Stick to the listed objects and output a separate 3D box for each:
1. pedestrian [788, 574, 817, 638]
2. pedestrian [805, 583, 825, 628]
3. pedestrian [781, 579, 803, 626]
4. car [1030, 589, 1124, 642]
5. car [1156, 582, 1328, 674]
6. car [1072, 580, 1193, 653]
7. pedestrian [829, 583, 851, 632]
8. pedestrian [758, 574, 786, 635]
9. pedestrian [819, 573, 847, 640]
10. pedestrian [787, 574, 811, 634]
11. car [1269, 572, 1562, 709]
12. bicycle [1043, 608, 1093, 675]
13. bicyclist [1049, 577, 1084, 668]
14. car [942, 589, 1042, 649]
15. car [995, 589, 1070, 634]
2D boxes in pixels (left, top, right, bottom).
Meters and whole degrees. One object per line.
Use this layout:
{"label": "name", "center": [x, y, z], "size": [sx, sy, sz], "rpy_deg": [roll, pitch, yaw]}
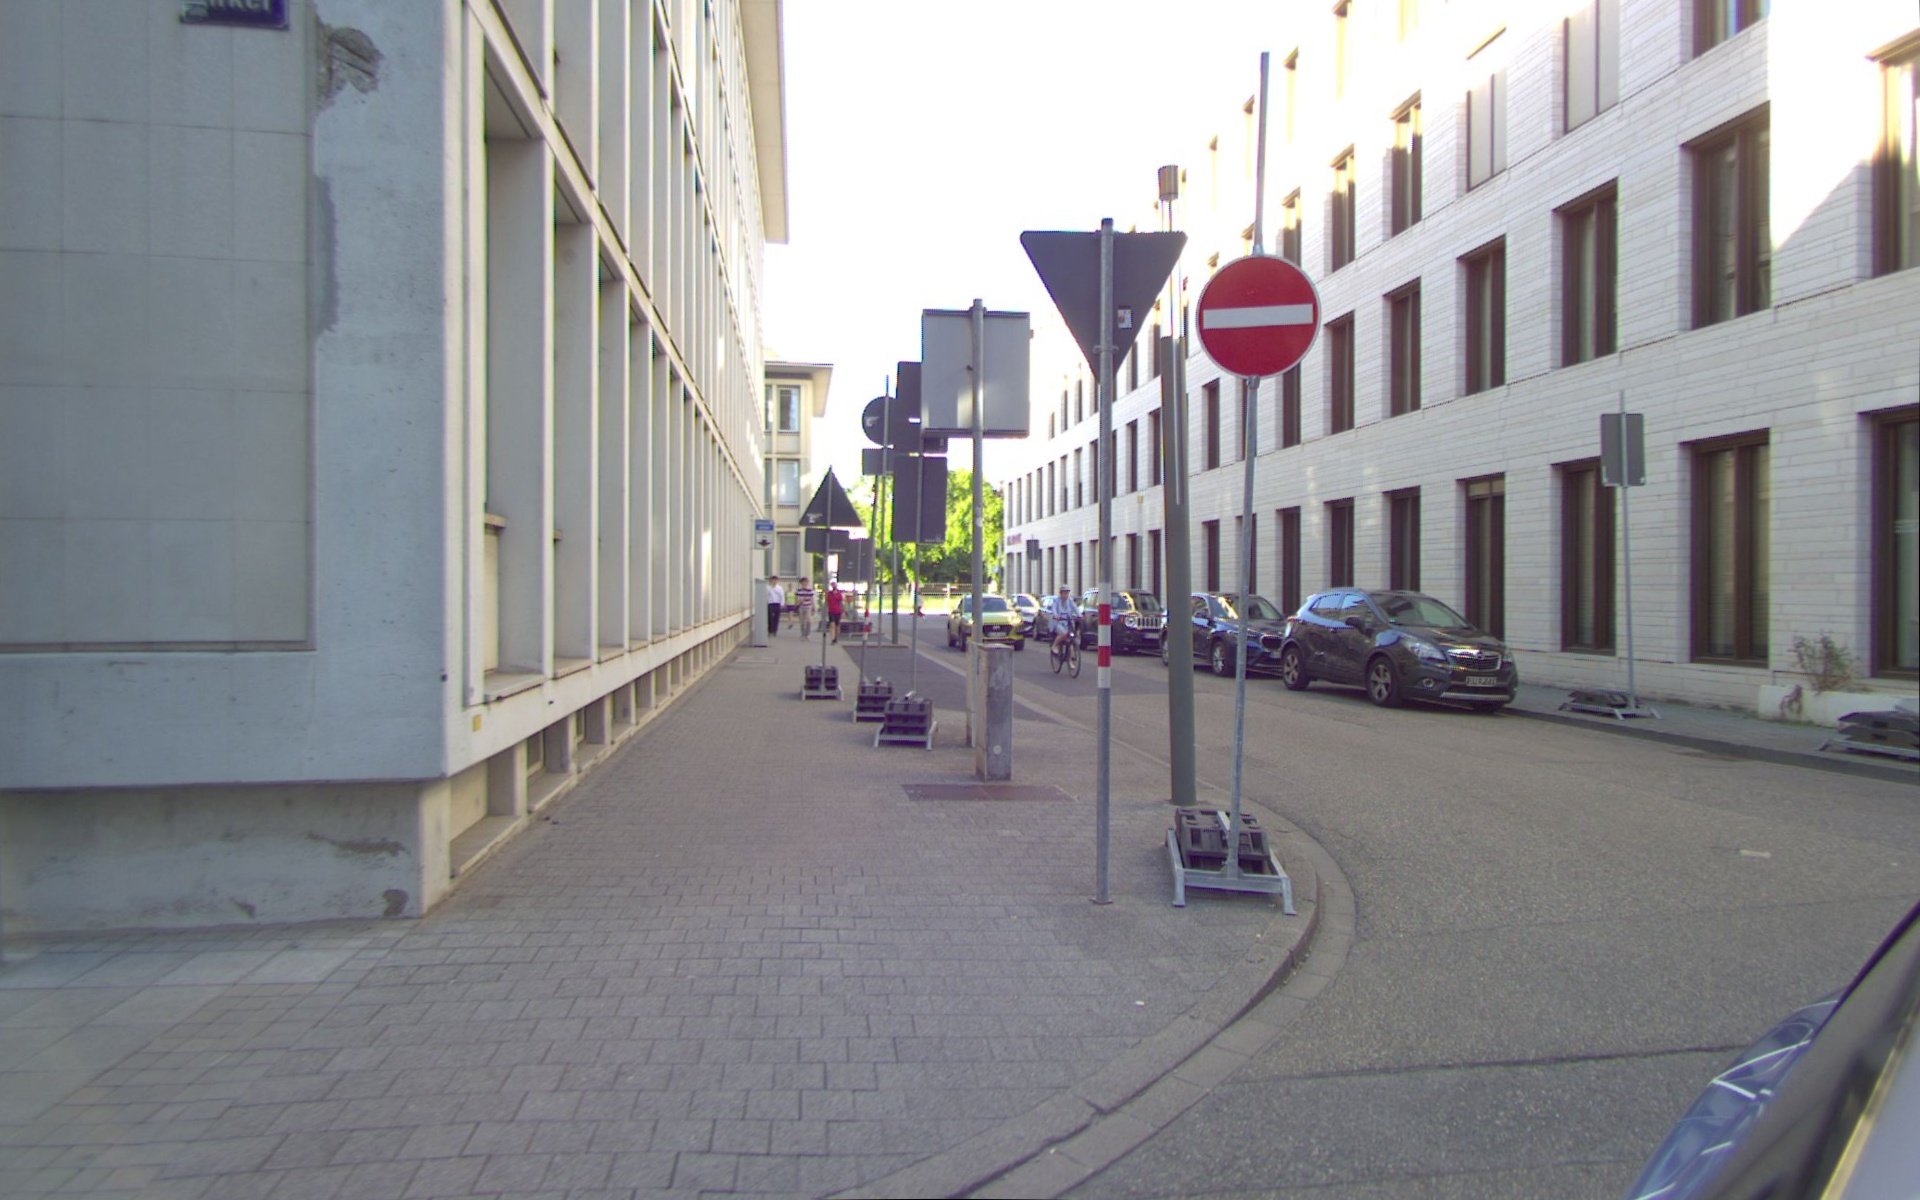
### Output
{"label": "pedestrian", "center": [-4.626, 0.156, 29.713], "size": [0.671, 1.800, 0.694], "rpy_deg": [5, 0, -7]}
{"label": "pedestrian", "center": [-5.514, 0.213, 38.550], "size": [0.671, 1.657, 0.694], "rpy_deg": [3, 0, -7]}
{"label": "pedestrian", "center": [-6.386, 0.085, 38.502], "size": [0.671, 1.737, 0.694], "rpy_deg": [3, 0, -7]}
{"label": "car", "center": [3.686, 0.441, 32.710], "size": [1.790, 1.561, 4.271], "rpy_deg": [0, 1, -11]}
{"label": "car", "center": [5.503, 0.499, 20.322], "size": [1.709, 1.615, 4.160], "rpy_deg": [2, 0, -9]}
{"label": "car", "center": [4.441, 0.392, 26.636], "size": [1.790, 1.736, 4.025], "rpy_deg": [2, 0, -11]}
{"label": "pedestrian", "center": [-4.368, 0.258, 36.748], "size": [0.671, 1.737, 0.694], "rpy_deg": [3, 0, -7]}
{"label": "pedestrian", "center": [-5.757, 0.125, 31.022], "size": [0.671, 1.800, 0.694], "rpy_deg": [5, 0, -7]}
{"label": "pedestrian", "center": [-3.561, 0.173, 28.326], "size": [0.671, 1.801, 0.594], "rpy_deg": [3, 0, -7]}
{"label": "pedestrian", "center": [-4.942, 0.108, 31.124], "size": [0.671, 1.801, 0.694], "rpy_deg": [2, 0, -7]}
{"label": "car", "center": [6.448, 0.505, 14.952], "size": [1.790, 1.699, 4.271], "rpy_deg": [2, 0, -10]}
{"label": "bicycle", "center": [2.035, 0.748, 19.306], "size": [0.584, 1.097, 2.312], "rpy_deg": [-1, 2, -2]}
{"label": "bicyclist", "center": [2.035, 0.423, 19.409], "size": [0.574, 1.710, 0.538], "rpy_deg": [-1, 1, -2]}
{"label": "car", "center": [0.827, 0.473, 29.085], "size": [1.959, 1.477, 4.445], "rpy_deg": [-1, 2, -10]}
{"label": "car", "center": [2.658, 0.388, 37.979], "size": [1.791, 1.561, 4.454], "rpy_deg": [1, 0, -9]}
